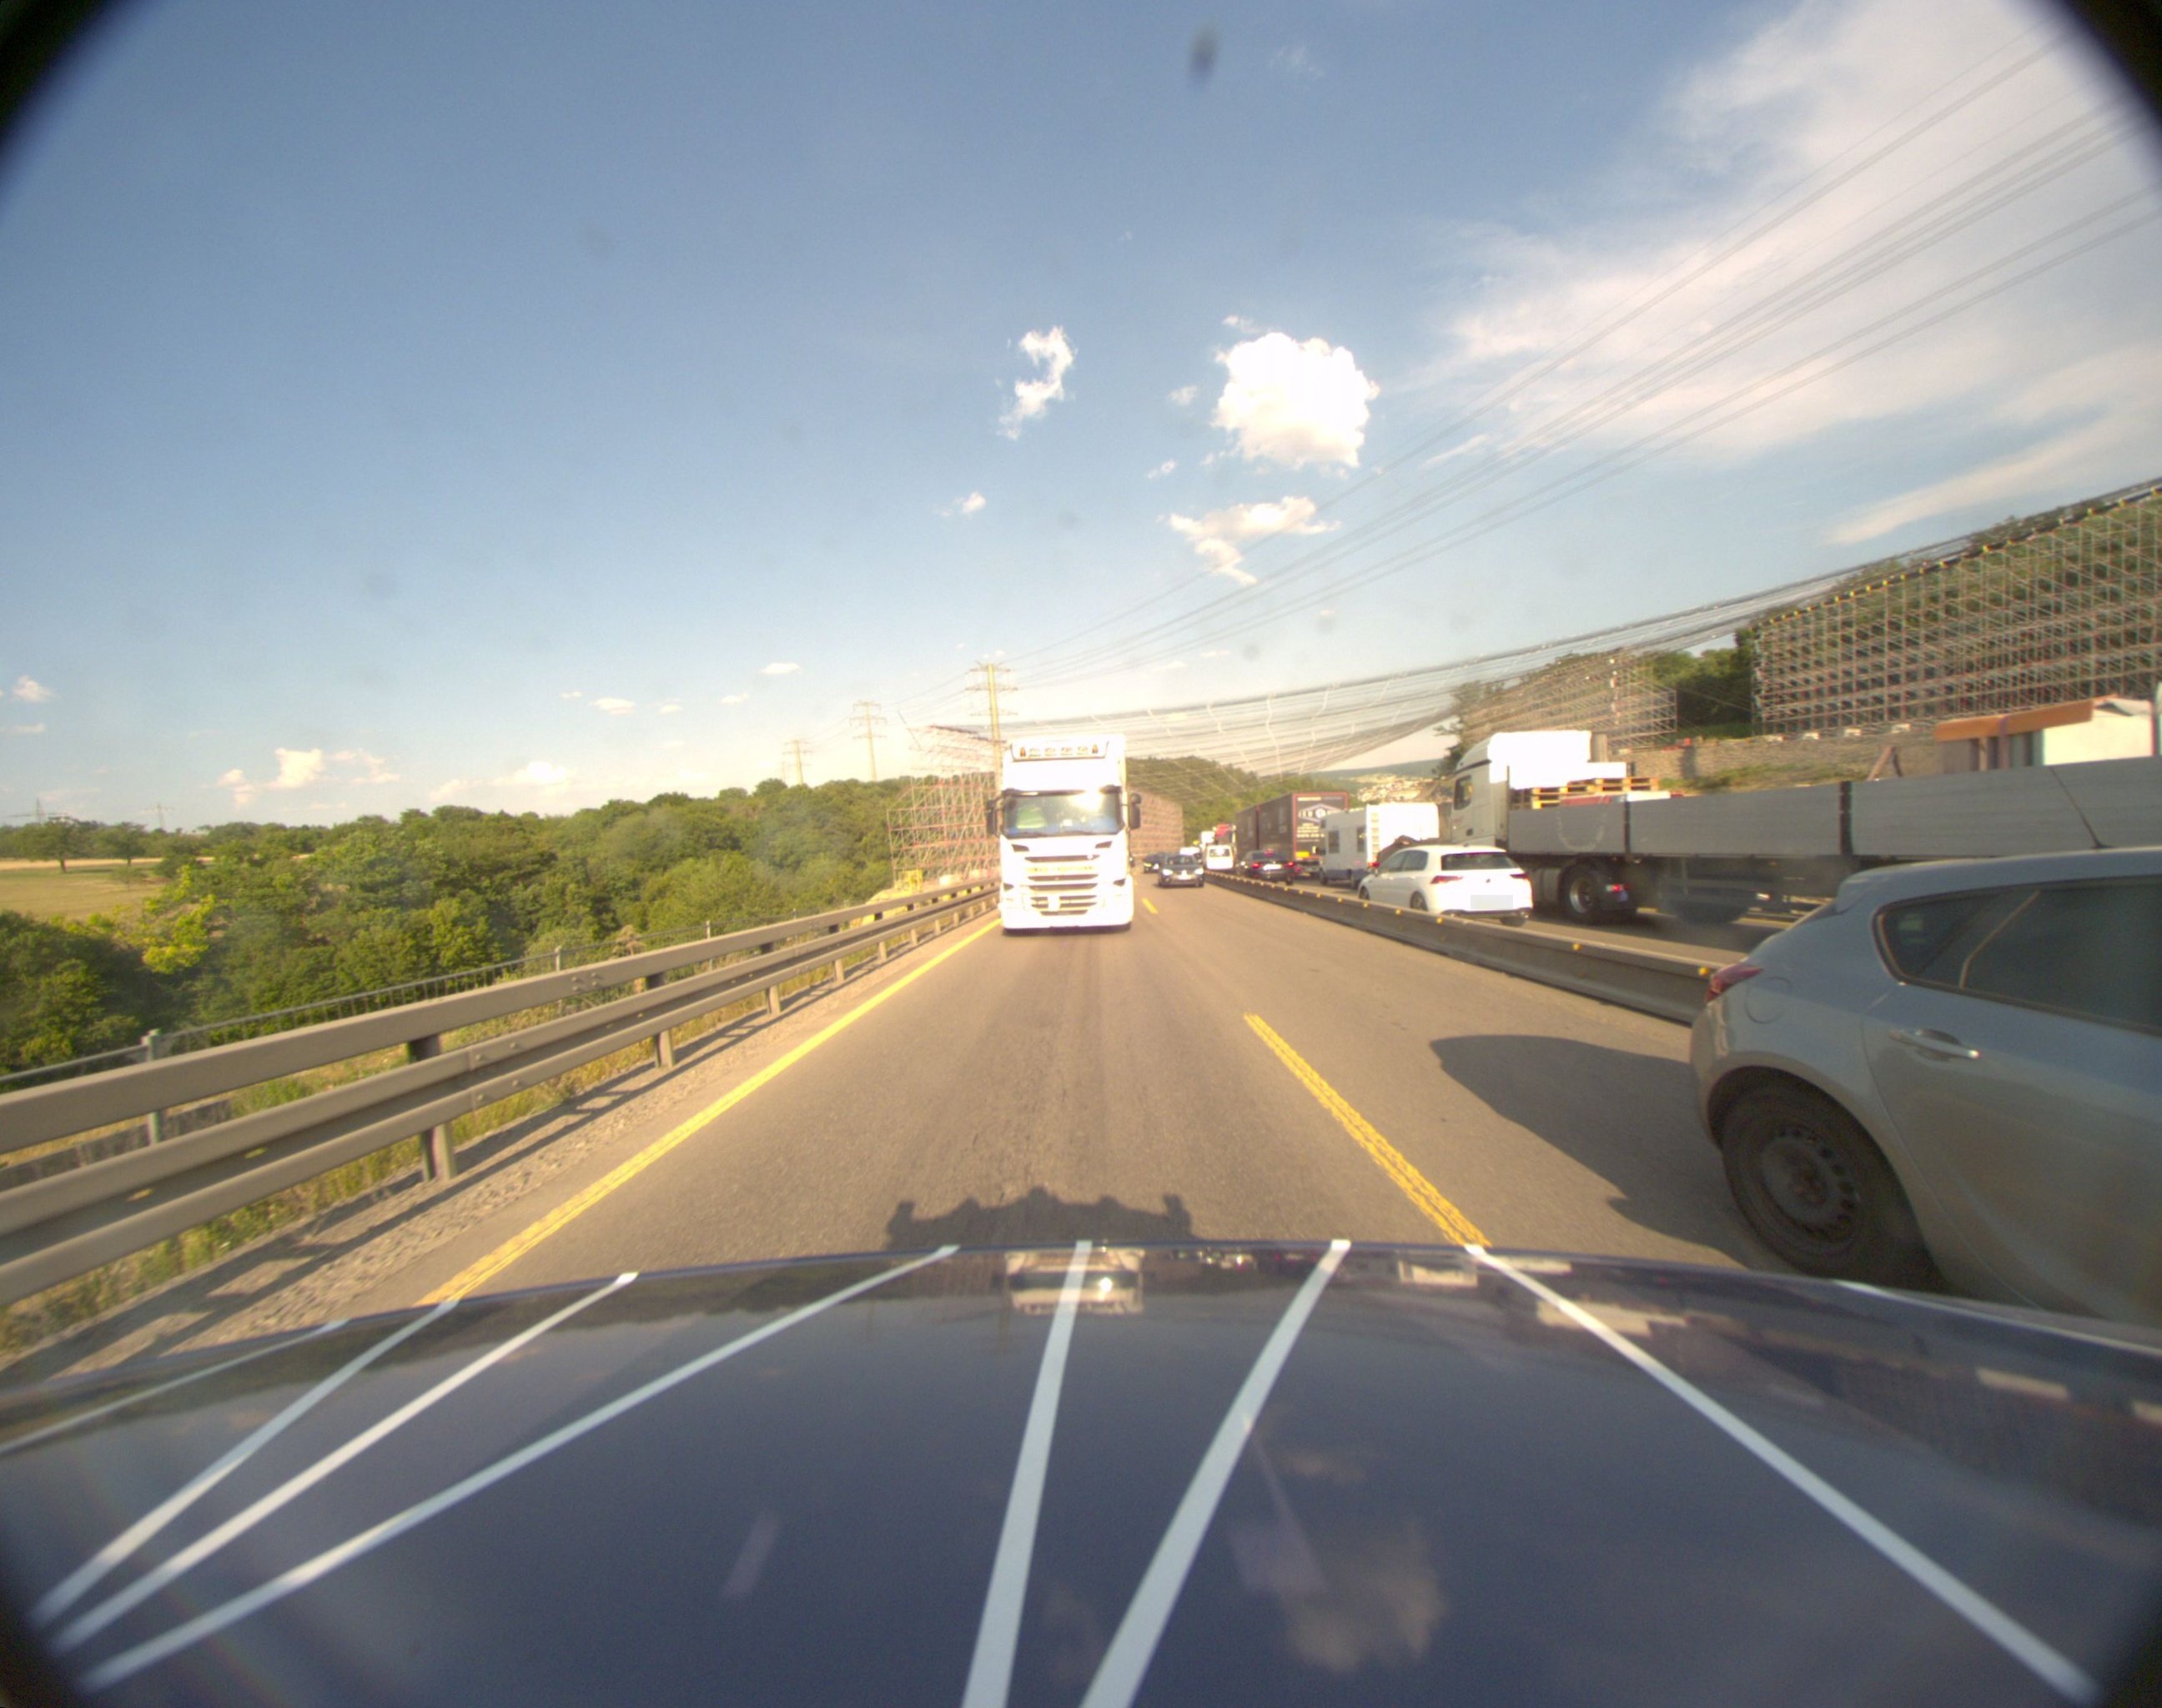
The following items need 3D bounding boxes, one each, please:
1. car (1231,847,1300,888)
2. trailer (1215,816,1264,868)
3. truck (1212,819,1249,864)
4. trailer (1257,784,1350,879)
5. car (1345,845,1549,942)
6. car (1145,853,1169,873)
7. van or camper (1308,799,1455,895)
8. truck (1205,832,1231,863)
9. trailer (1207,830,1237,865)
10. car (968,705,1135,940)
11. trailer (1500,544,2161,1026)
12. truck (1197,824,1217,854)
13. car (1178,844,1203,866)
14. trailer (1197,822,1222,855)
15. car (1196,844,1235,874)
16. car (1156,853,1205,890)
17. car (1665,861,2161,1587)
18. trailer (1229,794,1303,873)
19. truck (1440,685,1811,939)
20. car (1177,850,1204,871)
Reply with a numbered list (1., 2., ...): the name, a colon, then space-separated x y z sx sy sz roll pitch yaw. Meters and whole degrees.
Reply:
1. car: 7.443 0.480 31.122 1.798 1.502 4.586 -2 1 2
2. trailer: 12.707 -0.958 61.782 2.312 3.768 12.055 -2 1 5
3. truck: 13.219 -1.113 67.549 2.437 3.763 5.618 -2 1 4
4. trailer: 10.805 -1.036 37.835 2.448 4.165 8.544 -2 1 3
5. car: 6.572 0.615 14.230 1.763 1.499 4.254 -2 1 0
6. car: 5.586 0.629 56.139 1.675 1.376 3.823 -2 1 5
7. van or camper: 10.355 -0.249 27.099 2.414 2.875 7.618 -2 1 2
8. truck: 15.349 -0.765 85.288 2.418 3.351 5.619 -1 1 7
9. trailer: 14.599 -0.670 79.432 2.311 3.342 12.057 -1 1 7
10. car: -0.246 -0.582 17.640 2.857 4.092 8.282 -2 1 4
11. trailer: 9.605 -0.580 8.230 2.526 3.703 13.977 -2 1 1
12. truck: 17.516 -2.038 105.610 2.478 4.022 5.620 -1 1 7
13. car: 10.365 0.058 72.139 1.821 1.914 4.837 -2 1 3
14. trailer: 16.599 -1.984 98.486 2.432 3.940 14.104 -1 1 7
15. car: 8.276 0.262 47.075 1.761 1.685 4.454 -2 1 3
16. car: 4.168 0.704 32.239 1.764 1.376 3.823 -2 1 4
17. car: 3.129 0.809 0.805 1.760 1.464 4.353 -2 1 2
18. trailer: 11.254 -1.199 47.324 2.481 4.303 10.512 -2 1 3
19. truck: 9.704 -0.650 14.652 2.607 3.732 6.517 -2 1 2
20. car: 8.245 0.449 57.473 1.684 1.470 4.603 -2 1 4
